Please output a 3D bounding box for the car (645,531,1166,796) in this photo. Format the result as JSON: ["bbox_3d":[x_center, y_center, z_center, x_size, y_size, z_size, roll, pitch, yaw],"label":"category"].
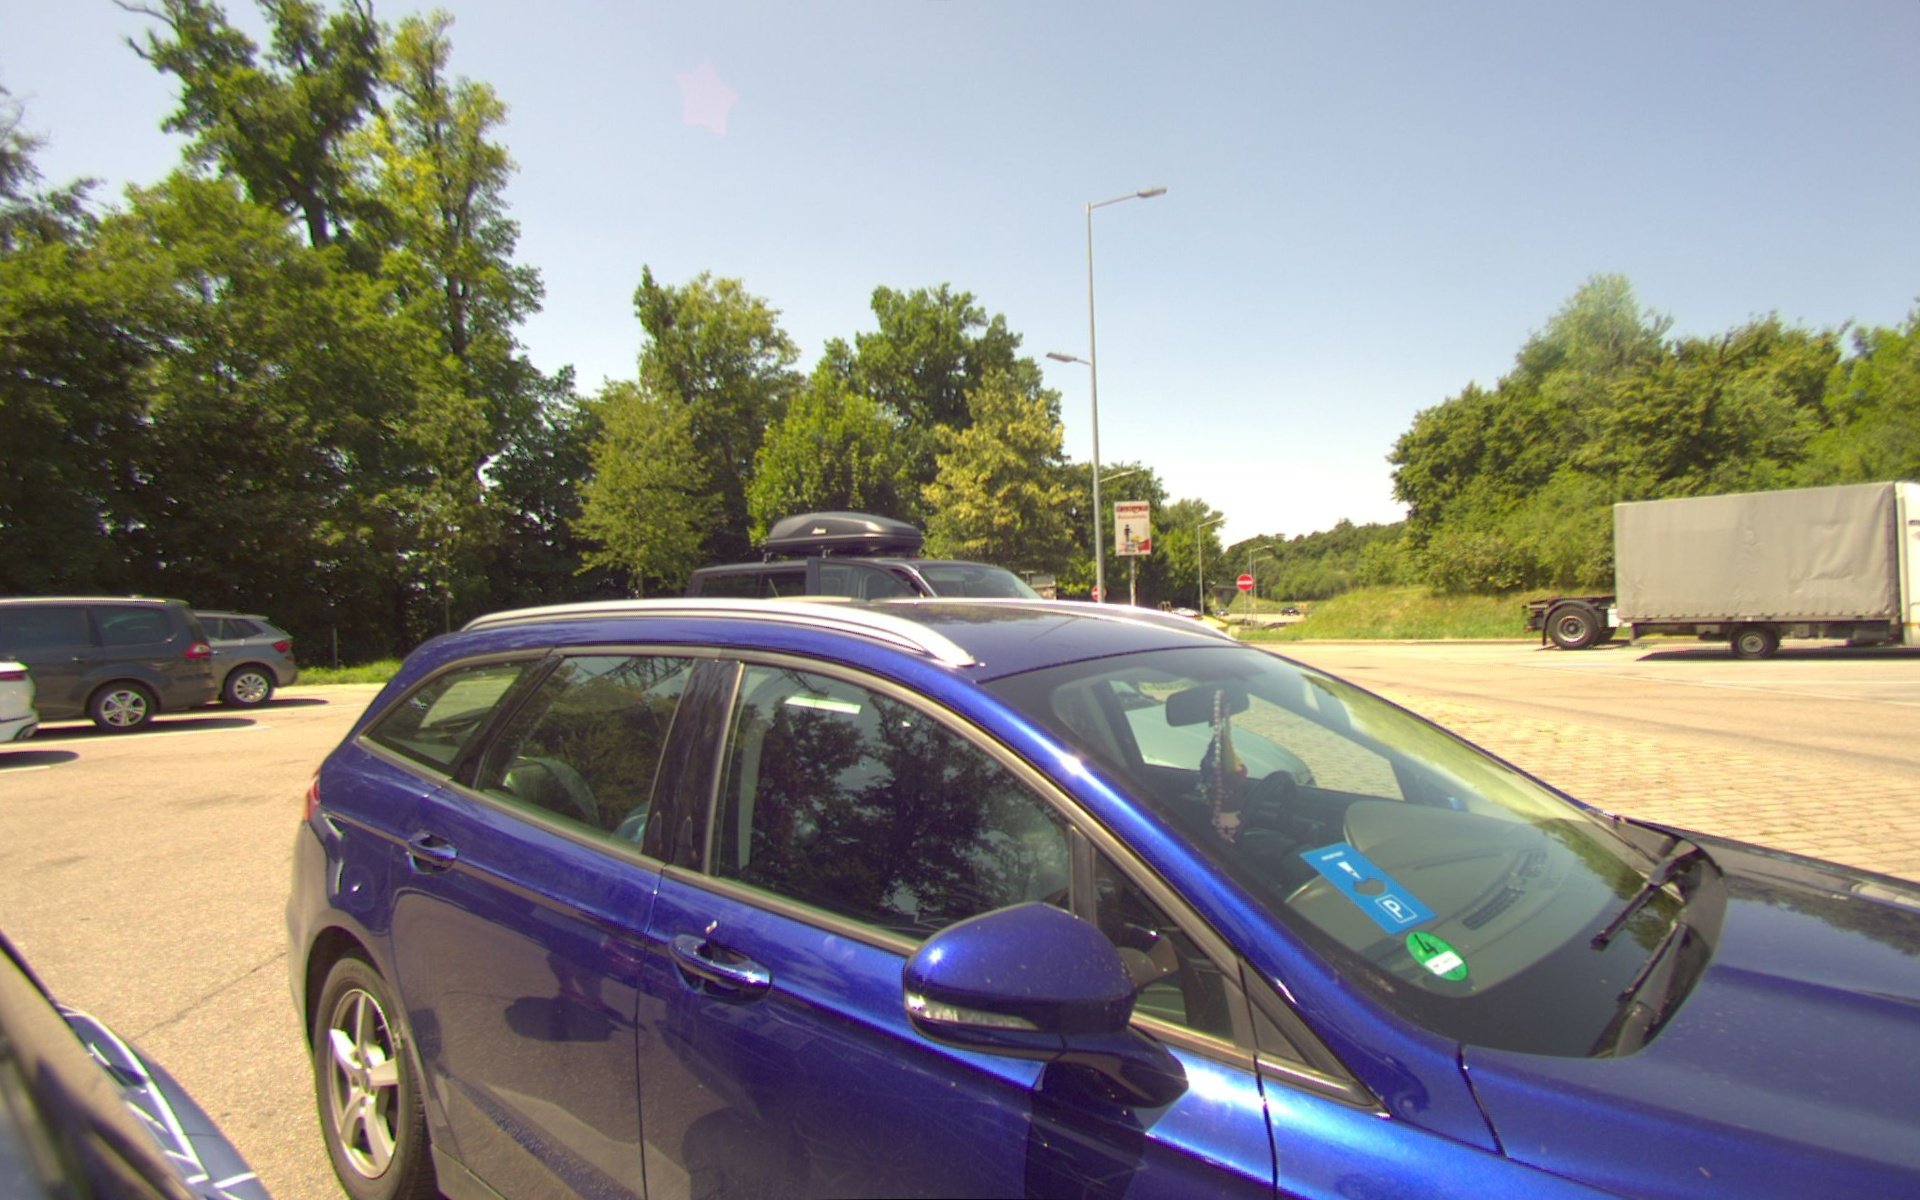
[{"bbox_3d":[-0.672,0.509,9.375,4.635,1.884,1.937,-2,0,37],"label":"car"}]

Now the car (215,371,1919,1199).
[{"bbox_3d":[0.234,0.634,2.089,4.637,1.493,1.720,-2,-1,39],"label":"car"}]

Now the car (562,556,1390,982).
[{"bbox_3d":[-0.228,0.671,5.801,4.637,1.545,1.720,-2,0,39],"label":"car"}]

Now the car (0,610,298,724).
[{"bbox_3d":[-12.606,0.954,15.720,3.762,1.551,1.724,0,-1,-38],"label":"car"}]

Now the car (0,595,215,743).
[{"bbox_3d":[-11.668,0.821,12.639,3.762,1.737,1.724,0,-1,-38],"label":"car"}]

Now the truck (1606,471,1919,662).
[{"bbox_3d":[16.695,-0.601,18.949,7.337,3.235,2.502,-4,-1,41],"label":"truck"}]

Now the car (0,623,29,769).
[{"bbox_3d":[-11.009,0.931,9.175,3.767,1.396,1.722,0,-1,-43],"label":"car"}]

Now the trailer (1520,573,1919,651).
[{"bbox_3d":[17.623,0.311,23.170,8.088,1.385,2.200,-4,-1,41],"label":"trailer"}]
